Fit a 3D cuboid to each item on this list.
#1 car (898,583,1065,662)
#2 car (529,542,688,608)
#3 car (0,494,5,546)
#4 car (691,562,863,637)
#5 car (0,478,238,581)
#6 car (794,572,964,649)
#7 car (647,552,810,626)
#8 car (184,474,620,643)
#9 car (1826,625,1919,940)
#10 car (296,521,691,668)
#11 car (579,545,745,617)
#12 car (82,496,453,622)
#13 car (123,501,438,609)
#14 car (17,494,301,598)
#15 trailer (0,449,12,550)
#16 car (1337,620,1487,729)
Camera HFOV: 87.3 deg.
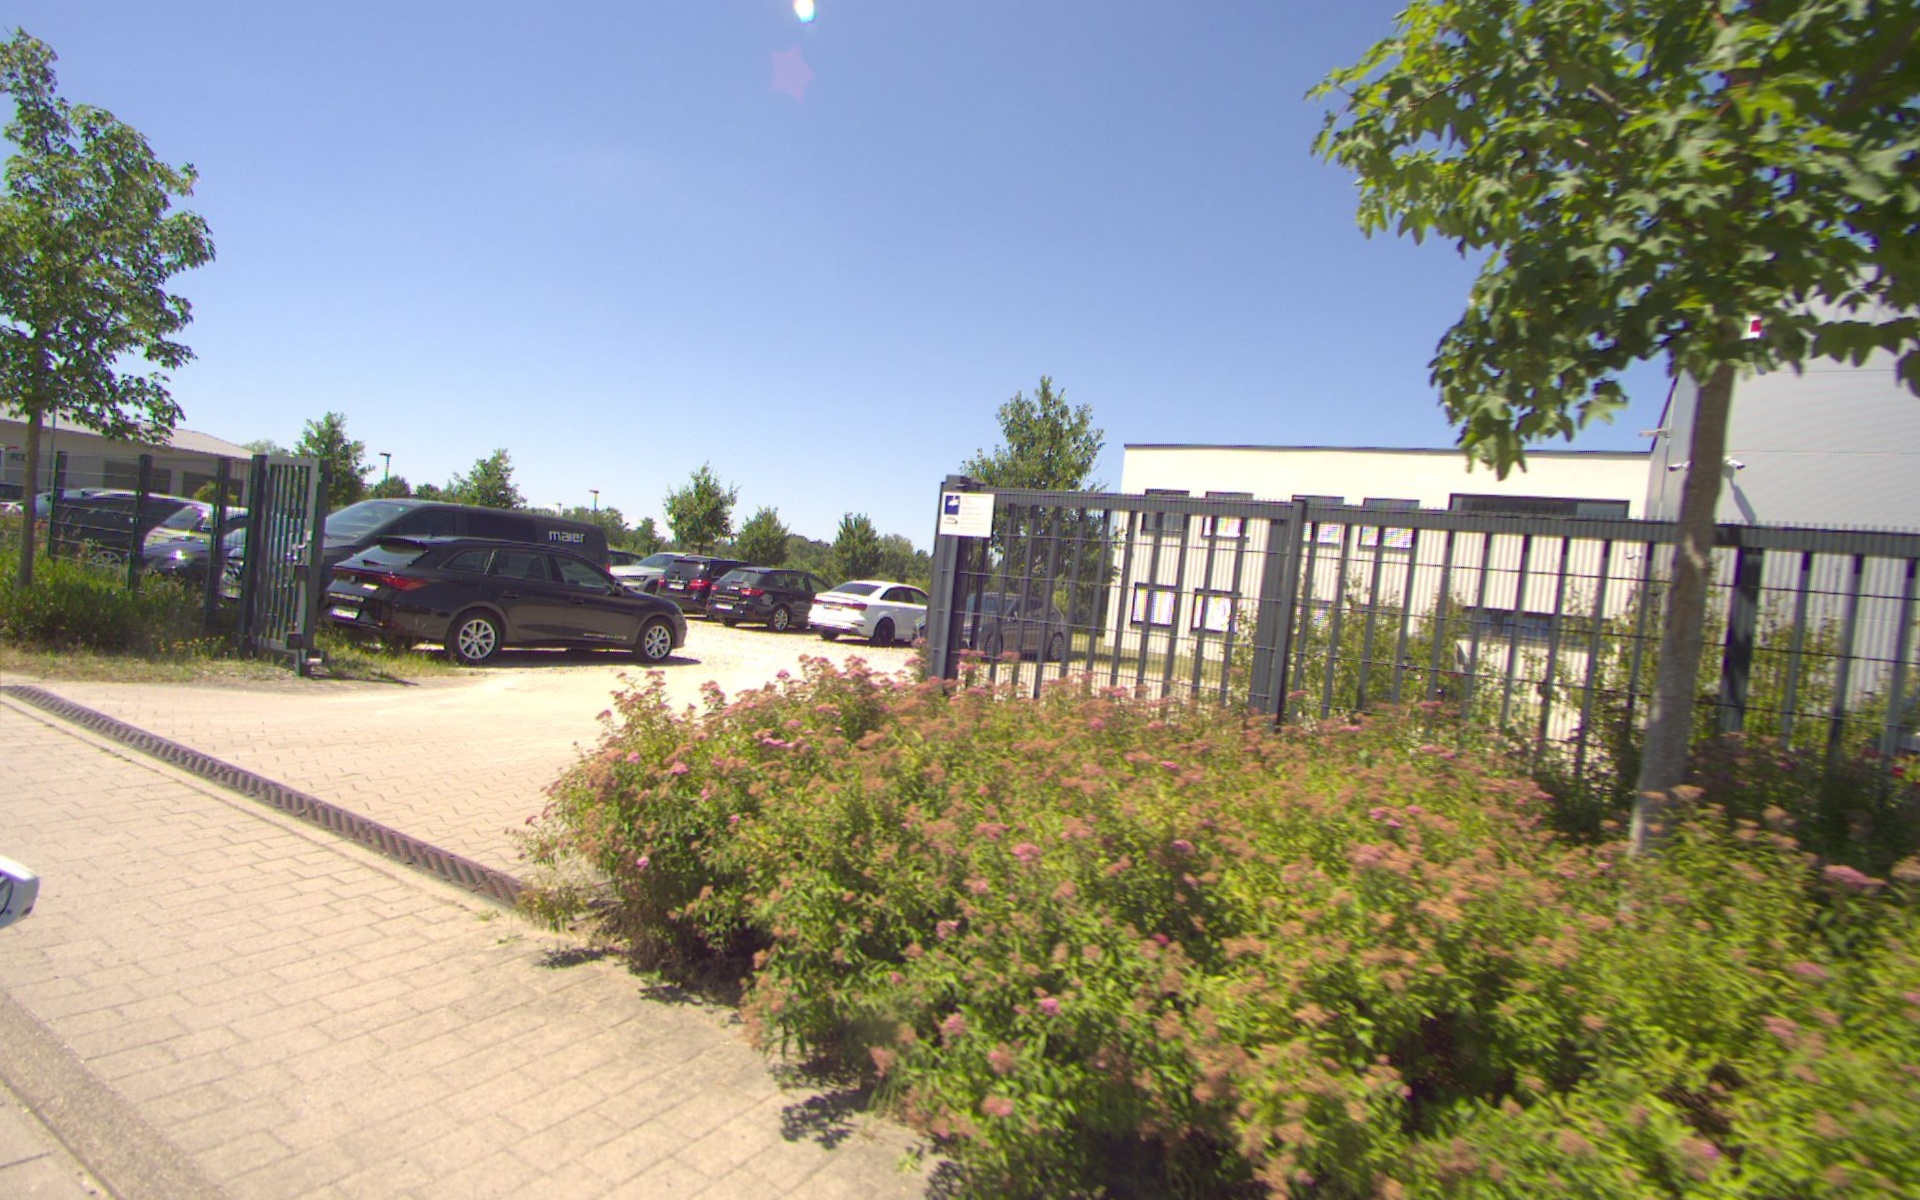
[{"bbox_3d":[0.573,0.544,21.913,1.788,1.421,3.990,6,0,31],"label":"car"},{"bbox_3d":[-9.975,-0.677,28.861,1.747,1.467,4.044,6,0,31],"label":"car"},{"bbox_3d":[-28.772,-2.391,27.240,1.775,1.459,3.844,6,1,28],"label":"car"},{"bbox_3d":[-4.286,0.024,24.027,1.739,1.421,3.873,6,0,34],"label":"car"},{"bbox_3d":[-16.857,-1.356,19.668,1.792,1.541,3.991,6,0,31],"label":"car"},{"bbox_3d":[-1.760,0.285,23.003,1.739,1.421,3.873,6,0,34],"label":"car"},{"bbox_3d":[-5.897,-0.239,25.985,1.739,1.522,3.873,6,0,34],"label":"car"},{"bbox_3d":[-7.615,-0.444,14.377,1.871,1.898,5.116,6,1,31],"label":"car"},{"bbox_3d":[6.782,1.117,4.698,3.816,1.575,1.544,6,1,32],"label":"car"},{"bbox_3d":[-5.628,0.016,12.705,1.735,1.440,4.219,6,0,31],"label":"car"},{"bbox_3d":[-8.043,-0.468,27.501,1.887,1.572,4.044,6,0,31],"label":"car"},{"bbox_3d":[-10.309,-0.534,15.362,1.576,1.468,4.347,6,1,31],"label":"car"},{"bbox_3d":[-11.935,-0.724,17.974,1.726,1.463,4.282,6,1,31],"label":"car"},{"bbox_3d":[-14.476,-0.925,18.379,1.617,1.440,3.668,6,0,31],"label":"car"},{"bbox_3d":[-24.423,-2.544,23.585,1.395,2.435,2.826,6,2,28],"label":"trailer"},{"bbox_3d":[8.019,1.276,17.645,1.820,1.504,3.991,6,0,31],"label":"car"}]
